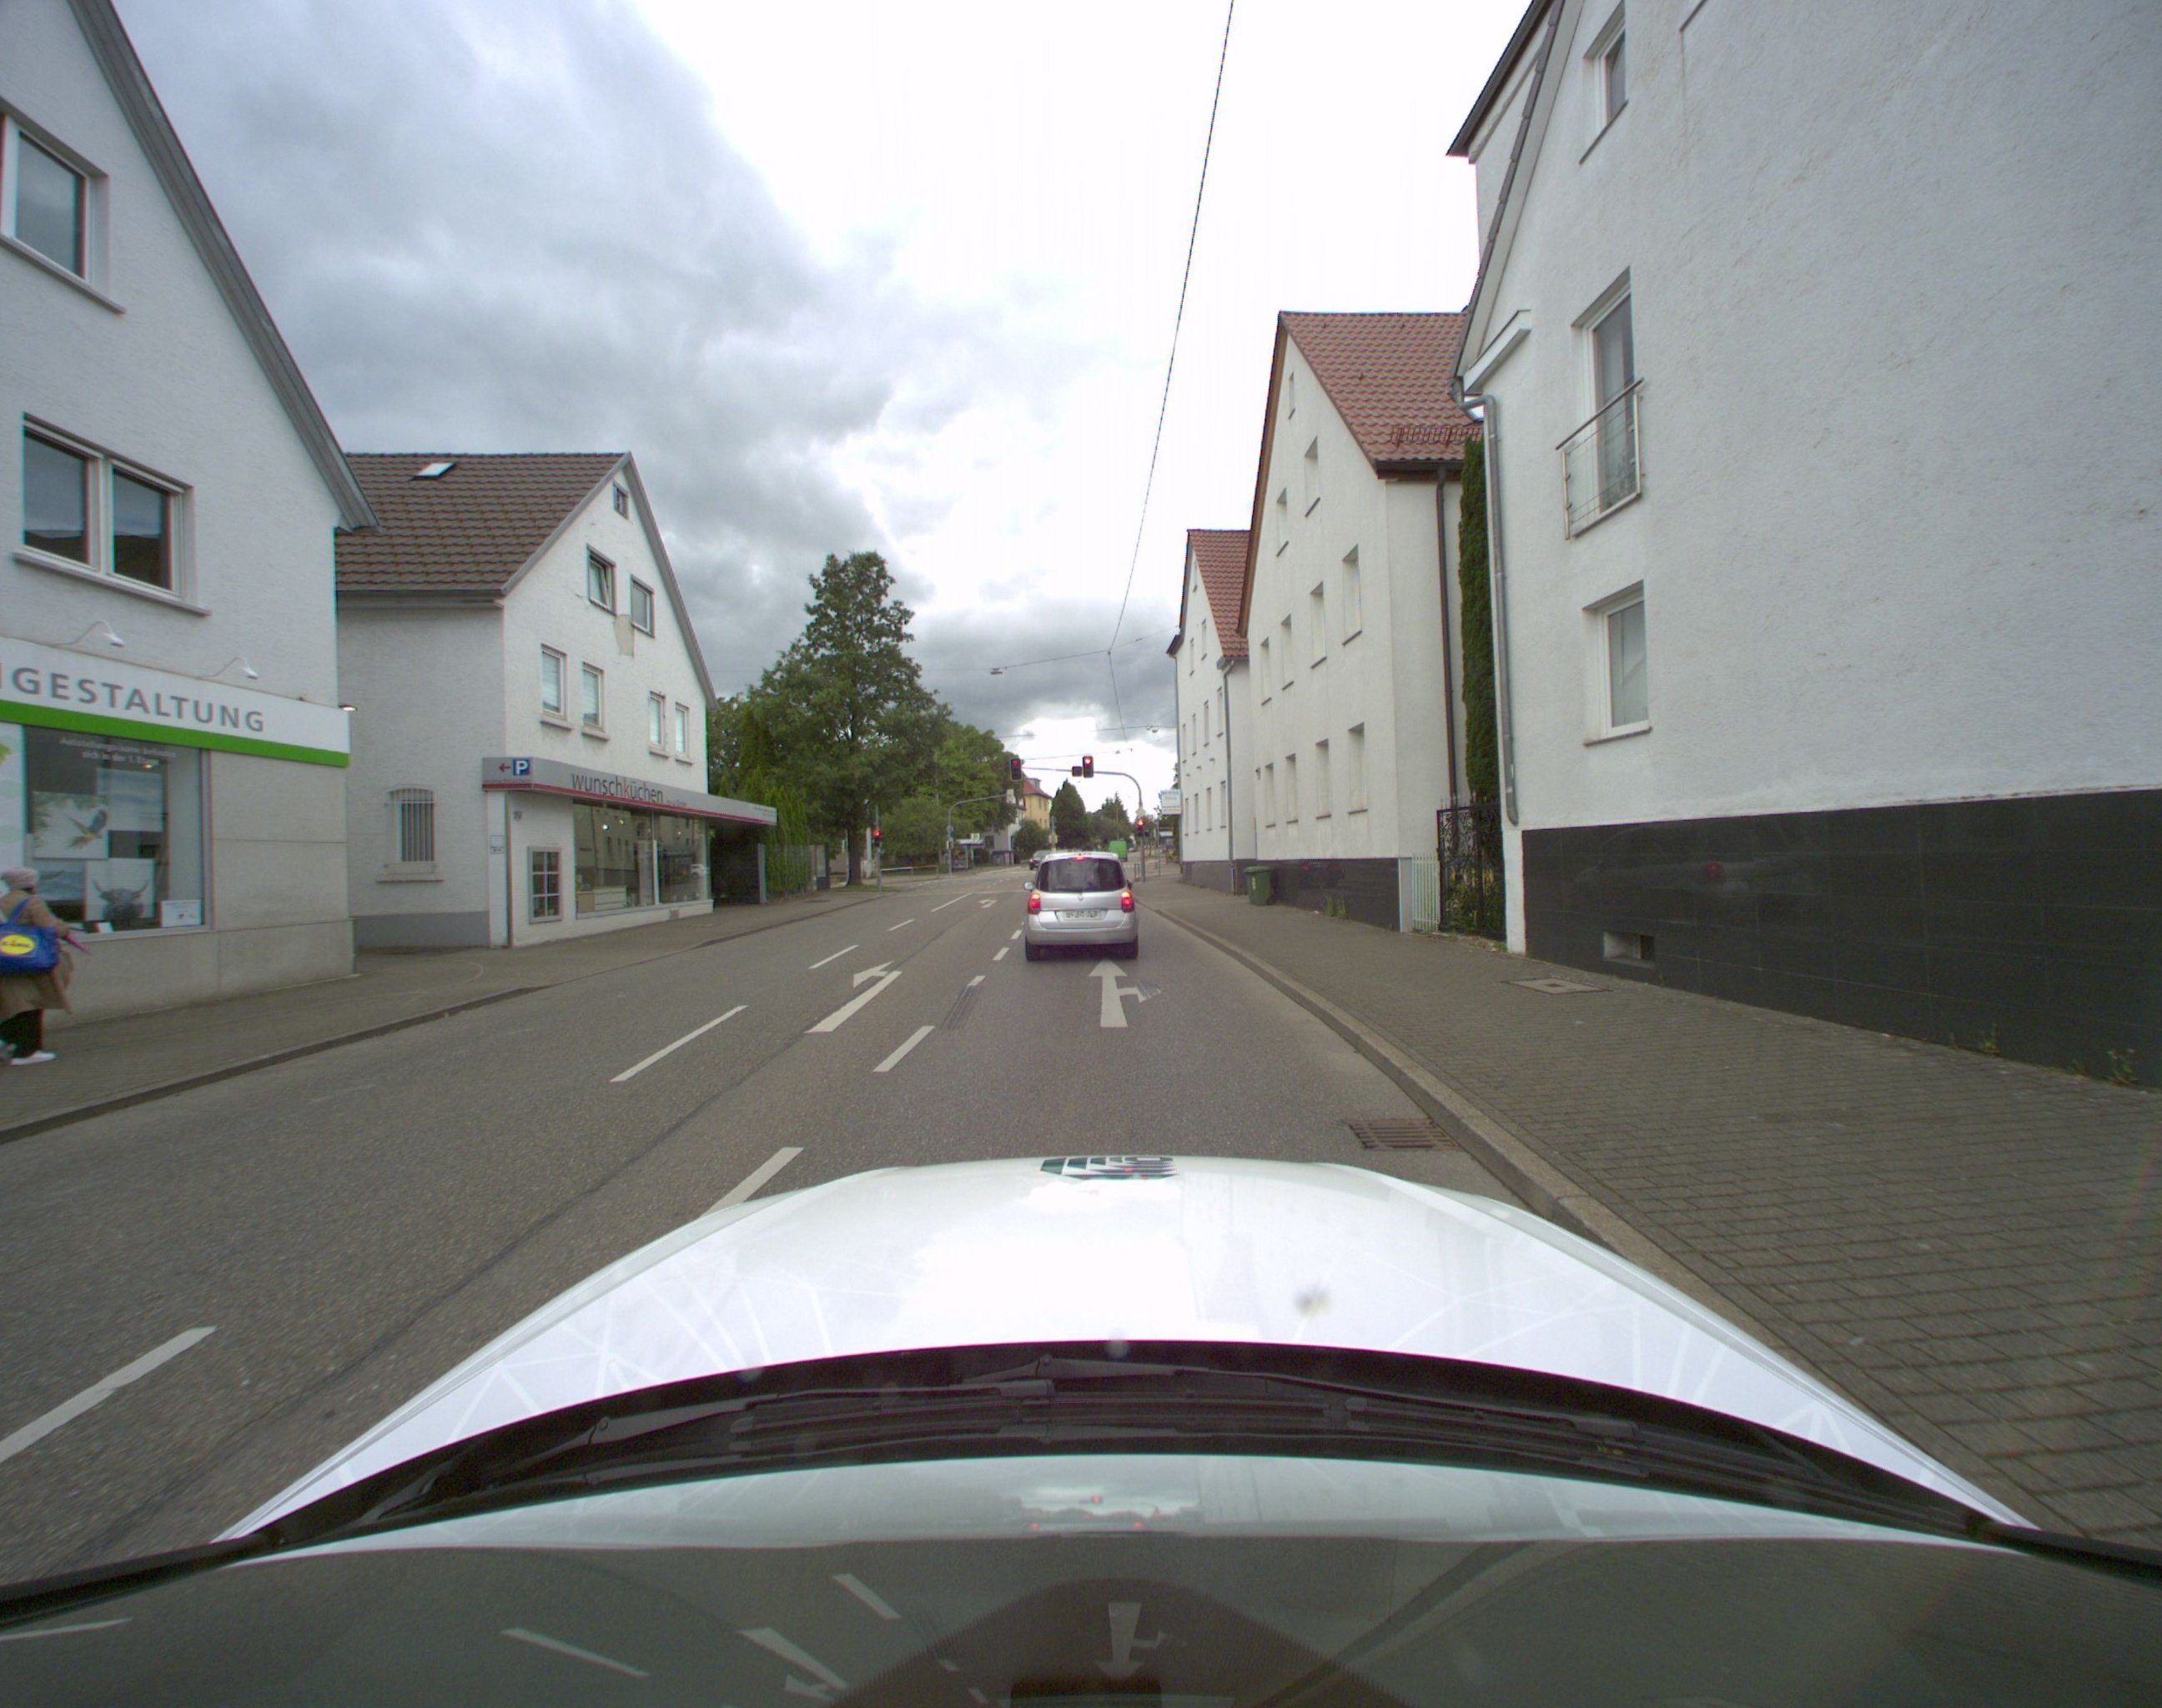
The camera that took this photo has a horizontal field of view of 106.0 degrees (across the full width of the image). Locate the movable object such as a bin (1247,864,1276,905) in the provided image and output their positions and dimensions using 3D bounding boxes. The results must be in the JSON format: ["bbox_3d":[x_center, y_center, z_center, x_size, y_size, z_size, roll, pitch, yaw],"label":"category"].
[{"bbox_3d":[4.373,0.729,19.761,0.538,0.941,0.487,-4,0,-1],"label":"movable object such as a bin"}]

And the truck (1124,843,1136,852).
[{"bbox_3d":[11.008,-1.474,184.098,2.089,2.014,5.762,-1,0,9],"label":"truck"}]

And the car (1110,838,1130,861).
[{"bbox_3d":[4.428,-0.479,91.637,2.049,2.512,5.603,-1,0,5],"label":"car"}]

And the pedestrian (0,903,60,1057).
[{"bbox_3d":[-9.462,1.079,6.967,0.598,1.279,0.655,0,-1,-2],"label":"pedestrian"}]

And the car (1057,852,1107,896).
[{"bbox_3d":[0.014,0.711,30.988,1.750,1.530,3.795,-1,0,-1],"label":"car"}]

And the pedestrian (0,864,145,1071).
[{"bbox_3d":[-8.732,0.903,6.840,0.749,1.617,0.792,1,-1,-2],"label":"pedestrian"}]

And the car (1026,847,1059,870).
[{"bbox_3d":[-3.380,0.369,71.488,1.915,1.773,4.011,-6,0,10],"label":"car"}]

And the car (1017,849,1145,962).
[{"bbox_3d":[-0.033,0.718,13.279,1.750,1.530,3.998,-1,0,-1],"label":"car"}]

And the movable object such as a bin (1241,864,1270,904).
[{"bbox_3d":[4.343,0.732,20.297,0.538,0.941,0.487,-4,0,-1],"label":"movable object such as a bin"}]
